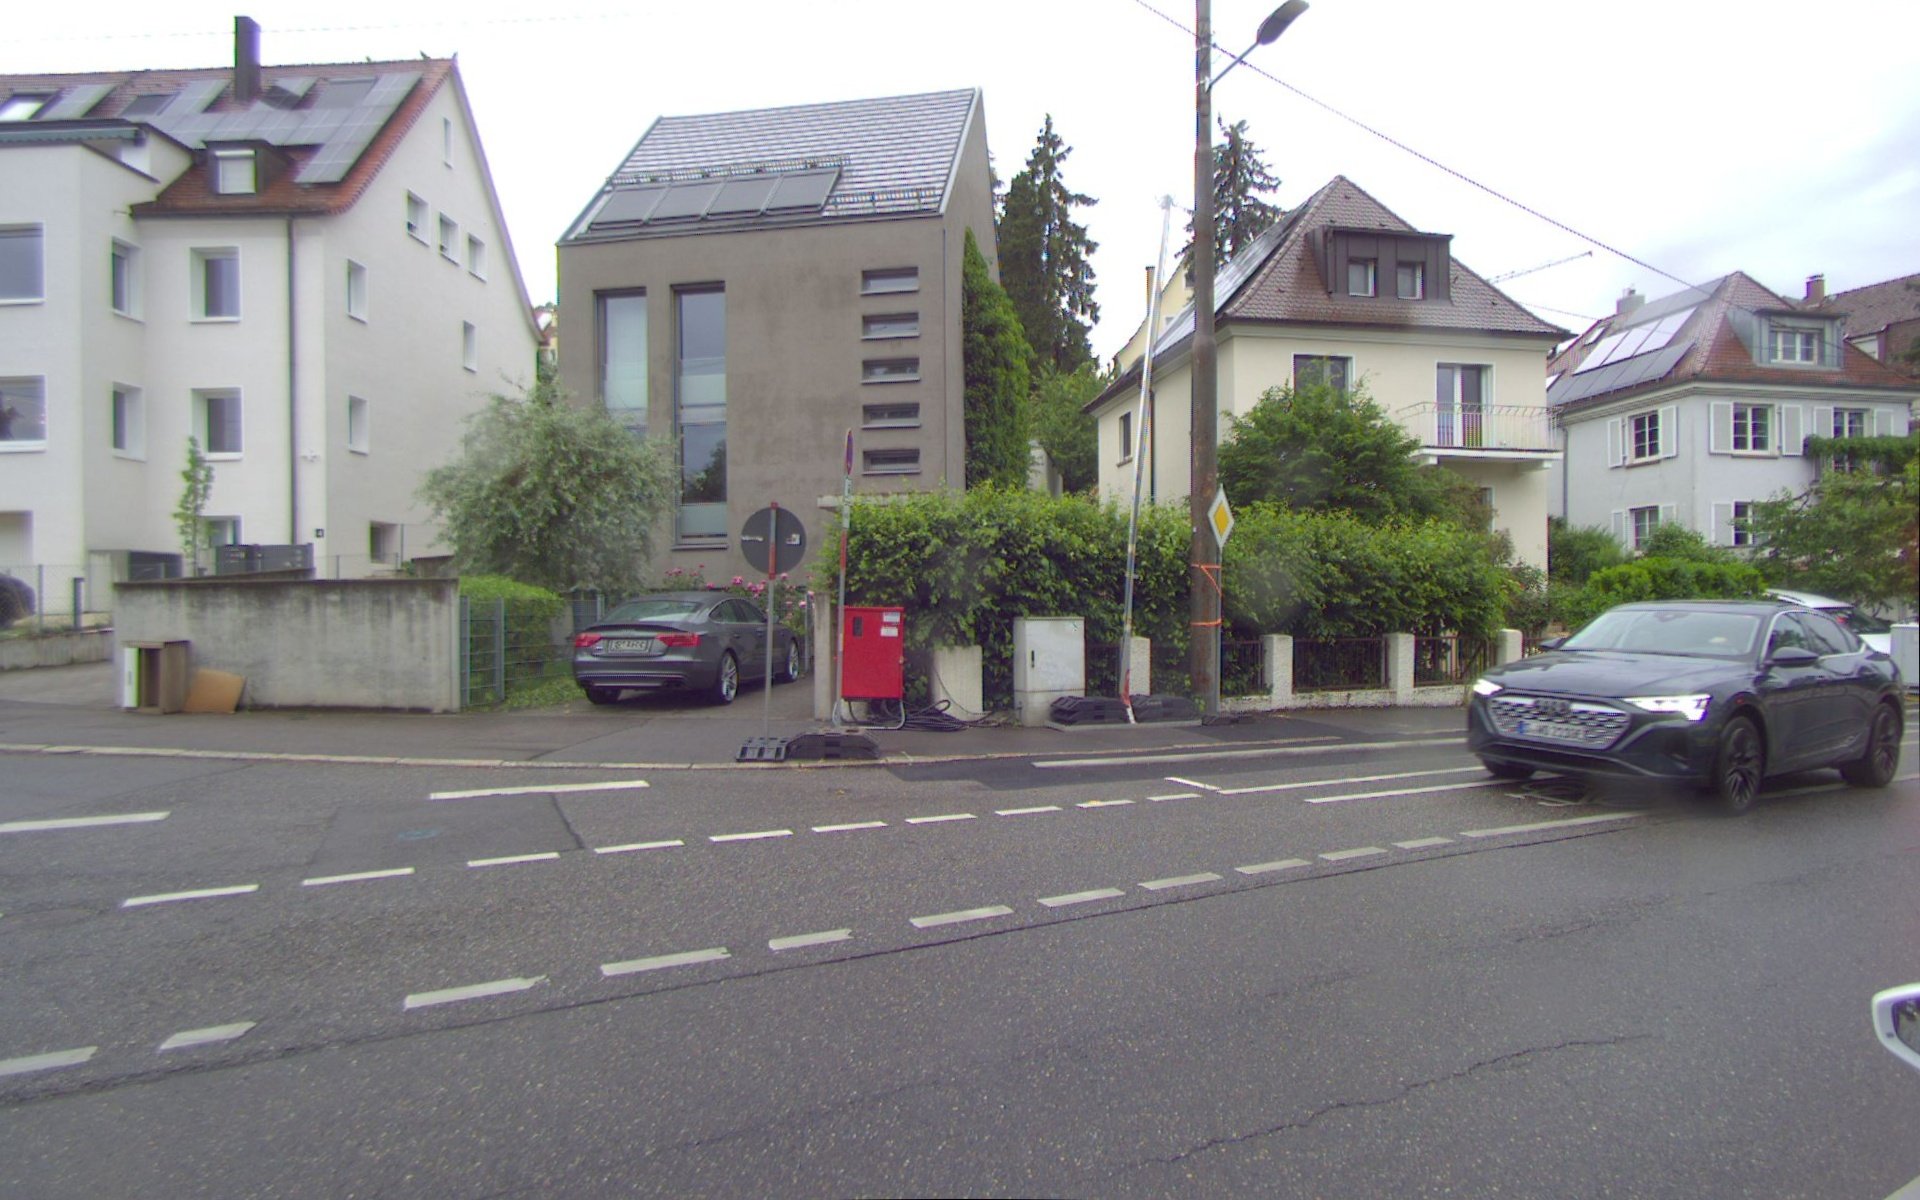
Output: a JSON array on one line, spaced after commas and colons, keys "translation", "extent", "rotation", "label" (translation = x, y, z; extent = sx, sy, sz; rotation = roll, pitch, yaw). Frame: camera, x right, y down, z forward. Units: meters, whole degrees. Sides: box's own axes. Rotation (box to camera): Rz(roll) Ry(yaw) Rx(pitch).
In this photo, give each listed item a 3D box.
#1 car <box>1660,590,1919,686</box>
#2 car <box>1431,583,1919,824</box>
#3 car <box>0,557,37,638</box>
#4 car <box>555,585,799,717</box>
[{"translation": [19.603, 0.814, 23.917], "extent": [1.870, 2.033, 4.628], "rotation": [1, 0, -18], "label": "car"}, {"translation": [6.618, 0.768, 9.092], "extent": [4.633, 1.696, 1.984], "rotation": [1, 0, -30], "label": "car"}, {"translation": [-16.725, 0.046, 15.175], "extent": [1.576, 1.298, 4.008], "rotation": [2, 4, 6], "label": "car"}, {"translation": [-3.601, 0.560, 13.581], "extent": [1.740, 1.506, 4.002], "rotation": [0, 1, 7], "label": "car"}]
